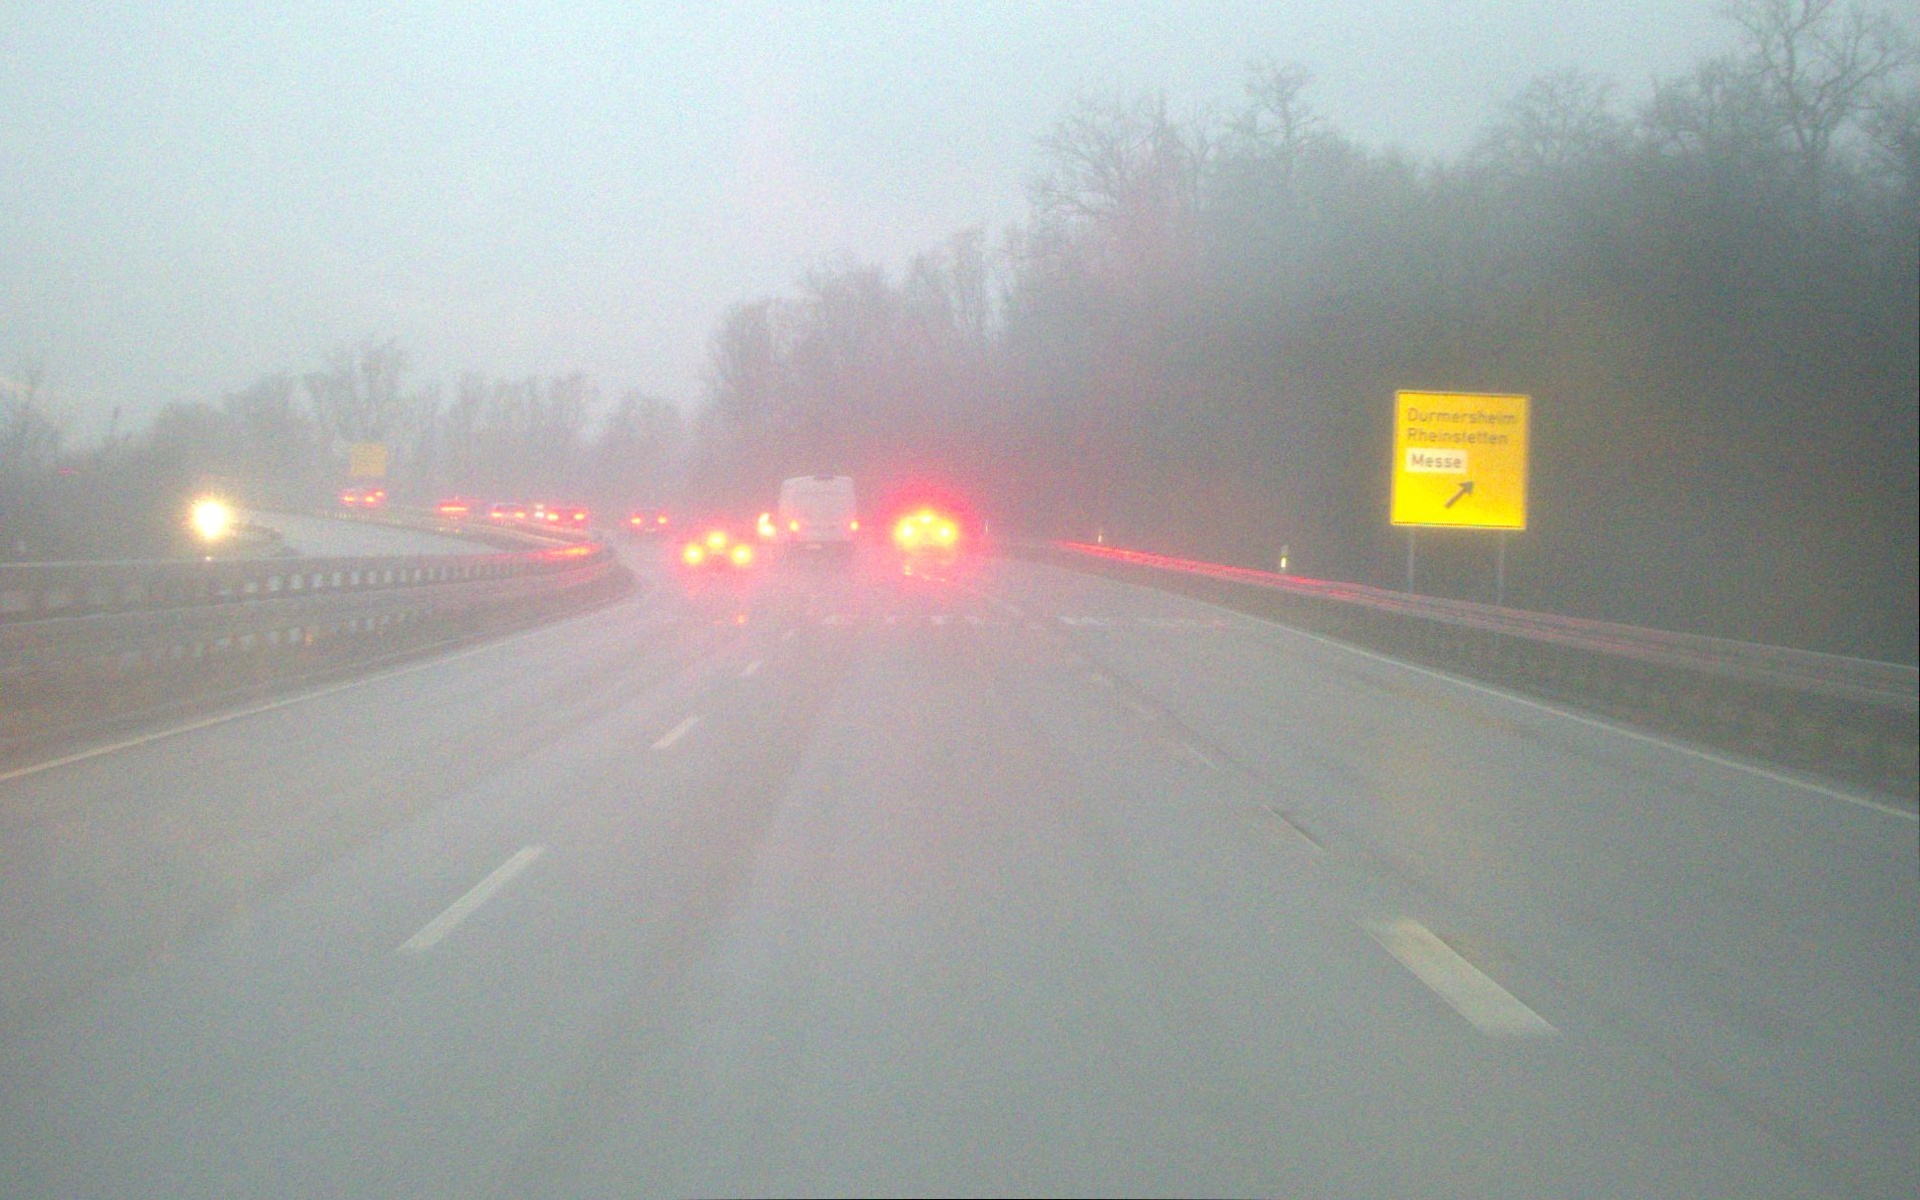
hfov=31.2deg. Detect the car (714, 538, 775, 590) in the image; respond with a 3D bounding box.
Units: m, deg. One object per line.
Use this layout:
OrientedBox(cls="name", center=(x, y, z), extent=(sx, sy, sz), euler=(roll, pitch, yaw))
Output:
OrientedBox(cls="car", center=(-5.753, -0.966, 91.912), extent=(1.416, 1.312, 3.083), euler=(2, 1, 0))
